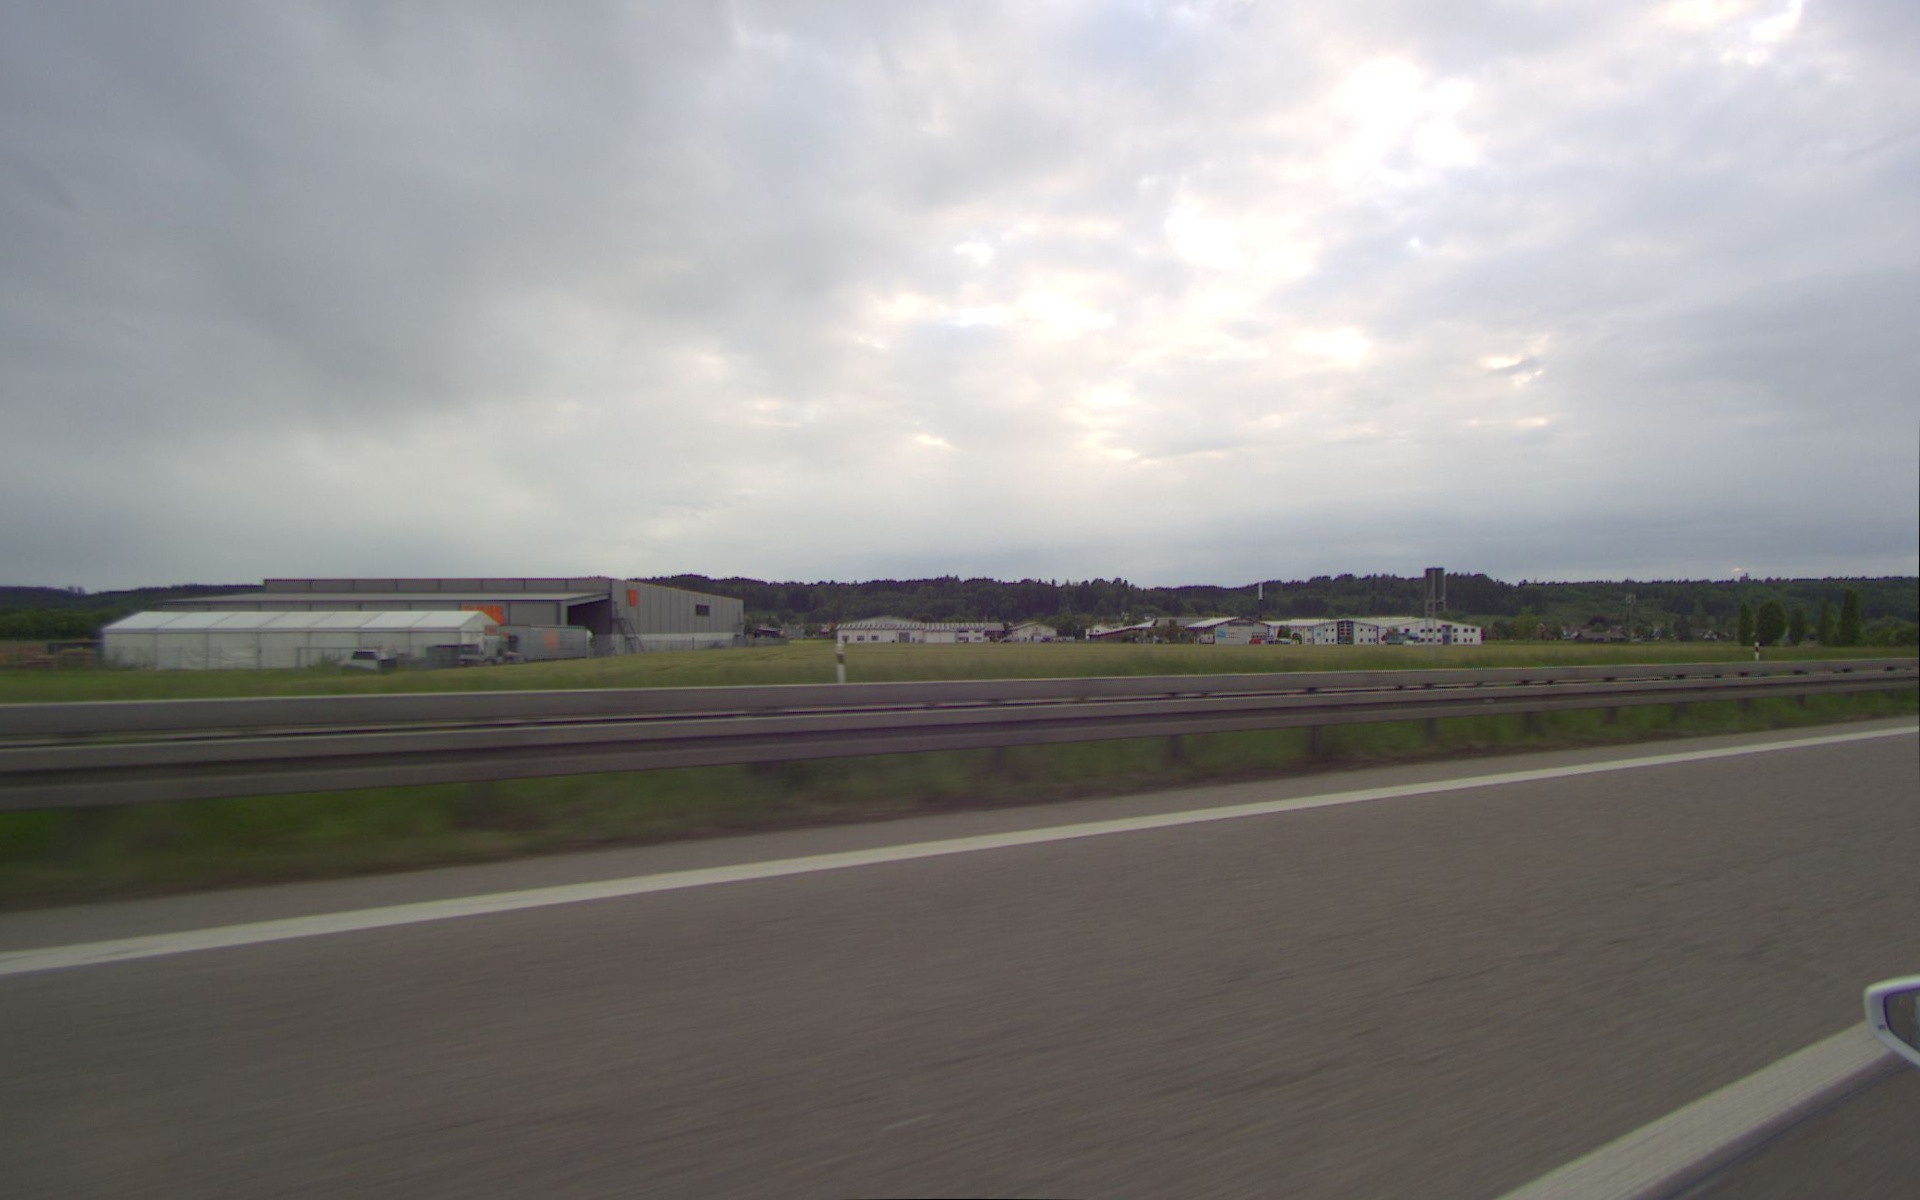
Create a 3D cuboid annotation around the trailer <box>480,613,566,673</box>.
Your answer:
[{"bbox_3d":[-41.060,4.123,94.873,3.681,5.328,10.084,1,-3,-1],"label":"trailer"}]

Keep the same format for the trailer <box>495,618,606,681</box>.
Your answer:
[{"bbox_3d":[-37.245,4.589,92.592,3.500,5.202,17.038,1,-3,-1],"label":"trailer"}]
